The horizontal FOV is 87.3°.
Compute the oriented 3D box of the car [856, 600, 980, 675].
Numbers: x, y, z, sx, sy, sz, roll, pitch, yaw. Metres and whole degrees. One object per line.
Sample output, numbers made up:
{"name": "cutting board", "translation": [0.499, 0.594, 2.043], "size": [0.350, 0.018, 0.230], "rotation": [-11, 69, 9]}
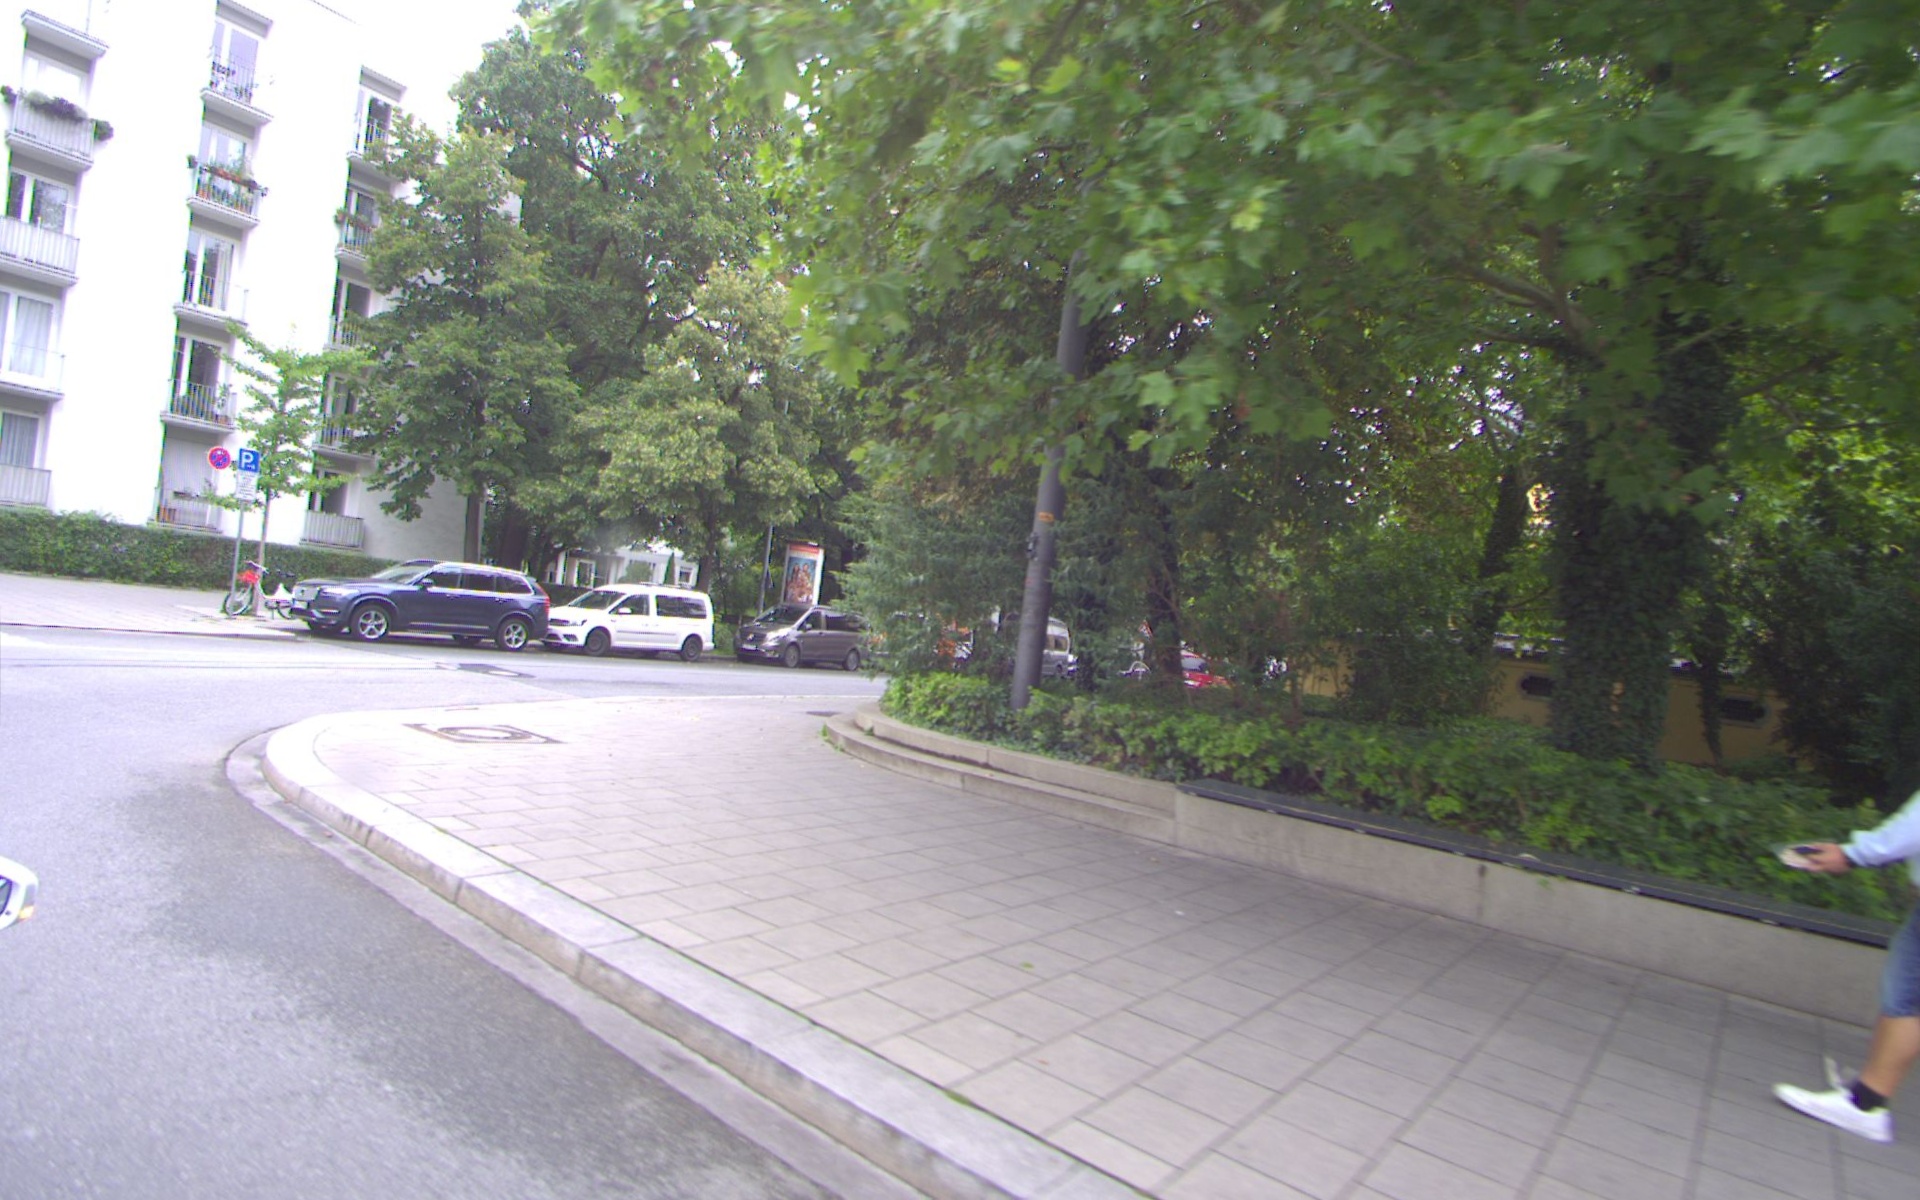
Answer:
{"name": "car", "translation": [-1.445, 1.467, 37.363], "size": [1.920, 2.299, 5.238], "rotation": [5, -2, 29]}

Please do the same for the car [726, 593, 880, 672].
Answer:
{"name": "car", "translation": [-4.719, 1.080, 31.209], "size": [1.861, 1.955, 5.205], "rotation": [5, -2, 28]}

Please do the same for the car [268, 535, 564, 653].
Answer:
{"name": "car", "translation": [-10.946, -0.035, 20.656], "size": [1.967, 1.812, 4.905], "rotation": [5, -2, 32]}

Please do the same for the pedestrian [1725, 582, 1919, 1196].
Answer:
{"name": "pedestrian", "translation": [3.255, 0.915, 3.257], "size": [1.037, 1.792, 0.873], "rotation": [6, -1, 41]}

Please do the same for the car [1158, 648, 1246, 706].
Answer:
{"name": "car", "translation": [9.295, 2.983, 38.316], "size": [1.963, 1.860, 4.709], "rotation": [5, -2, 29]}

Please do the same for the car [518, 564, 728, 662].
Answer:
{"name": "car", "translation": [-8.285, 0.408, 25.237], "size": [1.805, 1.940, 4.842], "rotation": [5, -2, 31]}

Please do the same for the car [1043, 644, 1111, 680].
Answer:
{"name": "car", "translation": [5.878, 3.138, 50.264], "size": [1.849, 1.433, 3.996], "rotation": [7, -2, 30]}

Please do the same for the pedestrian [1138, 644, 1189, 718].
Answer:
{"name": "pedestrian", "translation": [5.525, 2.198, 27.263], "size": [0.862, 1.853, 1.050], "rotation": [6, -1, 31]}

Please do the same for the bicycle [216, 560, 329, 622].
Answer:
{"name": "bicycle", "translation": [-13.999, -0.157, 20.550], "size": [0.483, 1.061, 1.830], "rotation": [7, -1, 26]}

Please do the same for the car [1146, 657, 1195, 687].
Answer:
{"name": "car", "translation": [13.092, 4.498, 62.396], "size": [1.826, 1.491, 3.997], "rotation": [7, -2, 29]}

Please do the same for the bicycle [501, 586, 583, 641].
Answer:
{"name": "bicycle", "translation": [-10.625, 0.349, 25.556], "size": [1.795, 1.163, 0.538], "rotation": [7, 0, 9]}

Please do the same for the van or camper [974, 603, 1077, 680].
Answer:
{"name": "van or camper", "translation": [3.043, 1.944, 45.076], "size": [1.973, 2.979, 6.004], "rotation": [5, -2, 29]}
